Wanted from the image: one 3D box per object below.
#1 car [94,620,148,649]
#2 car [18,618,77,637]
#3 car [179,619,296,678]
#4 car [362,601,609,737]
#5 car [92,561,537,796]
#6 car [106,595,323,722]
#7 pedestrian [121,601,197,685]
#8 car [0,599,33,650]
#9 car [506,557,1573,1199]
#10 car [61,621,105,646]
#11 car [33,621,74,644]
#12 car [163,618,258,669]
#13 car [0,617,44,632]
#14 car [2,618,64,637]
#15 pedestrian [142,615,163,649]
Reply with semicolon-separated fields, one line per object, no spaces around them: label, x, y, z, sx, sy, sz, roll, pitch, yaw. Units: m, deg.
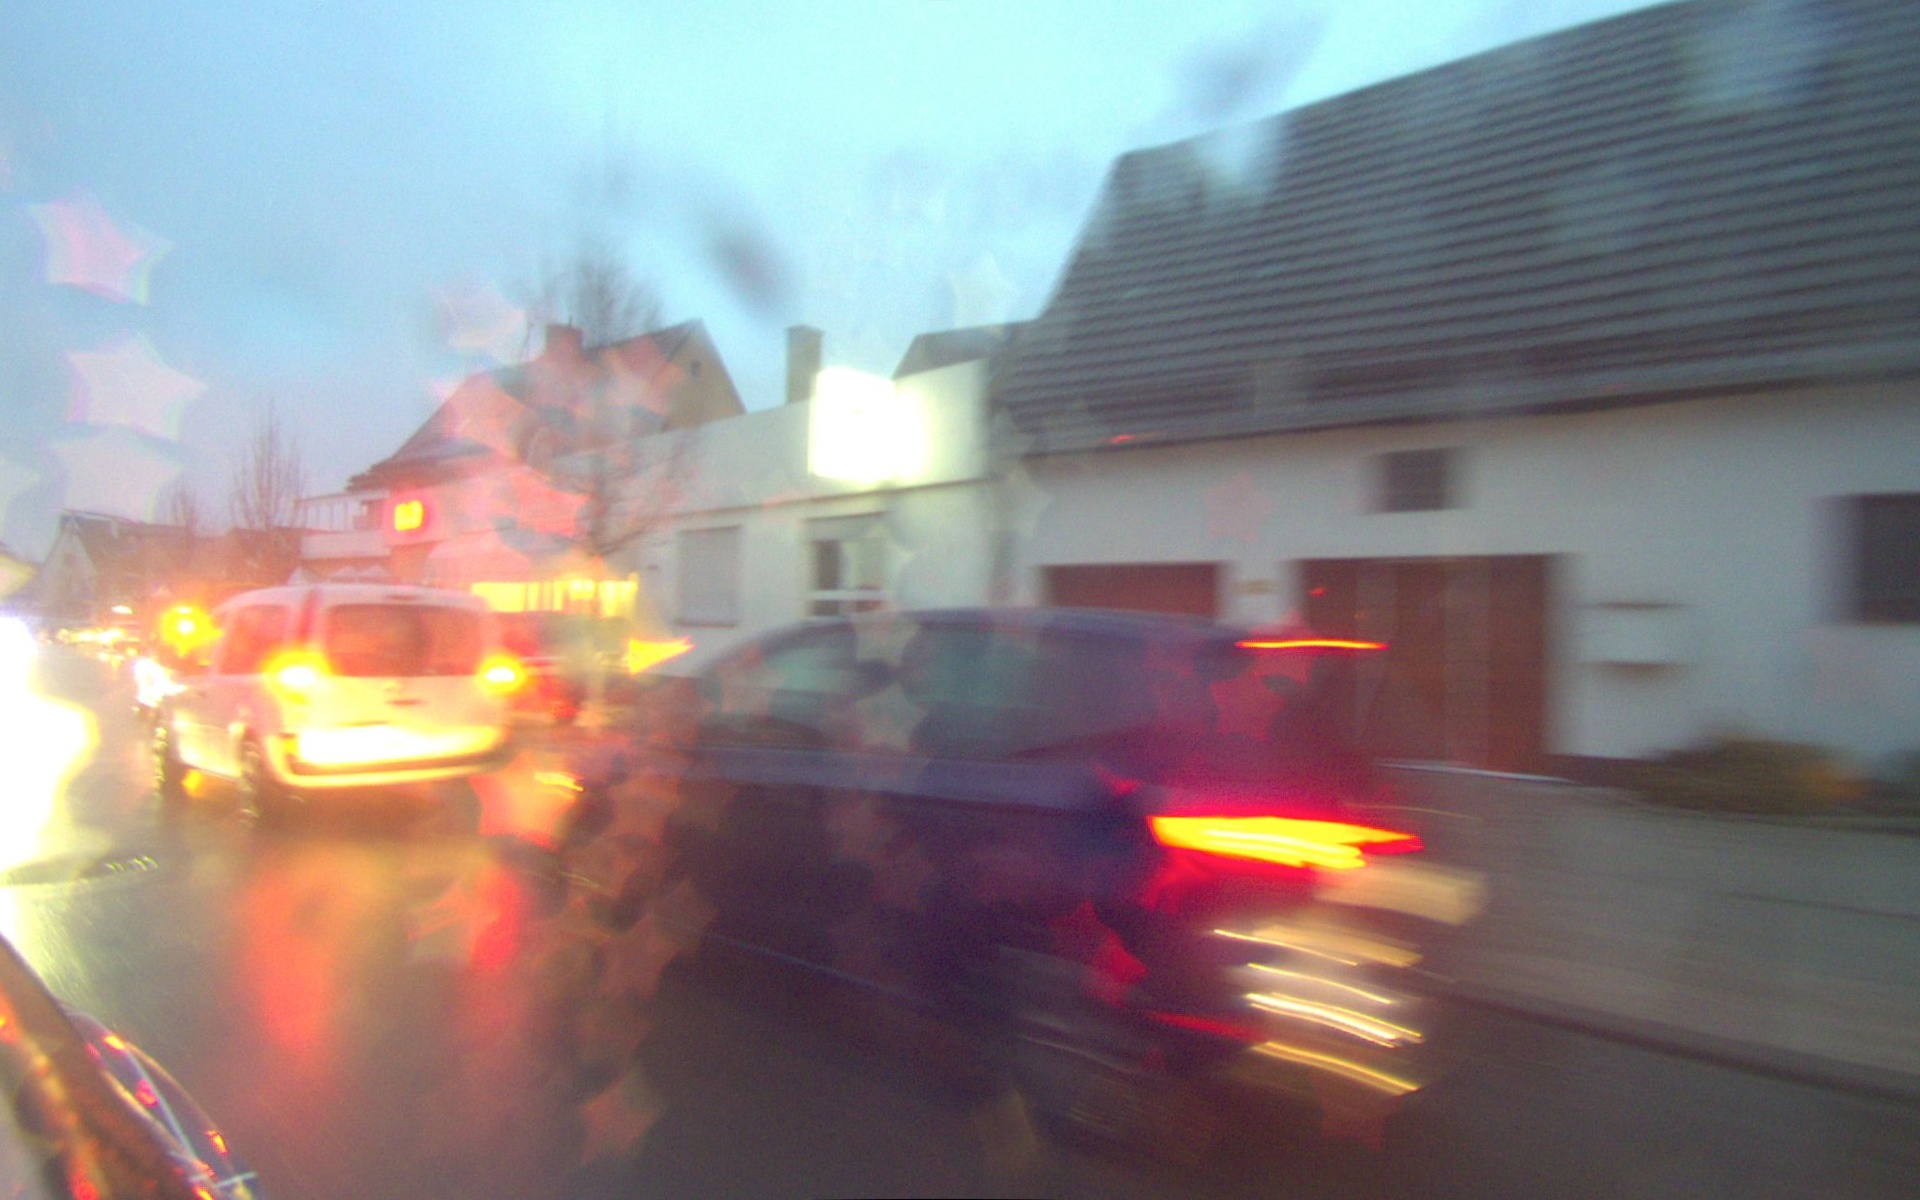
car;-45.945;1.860;55.407;4.183;1.500;1.765;-1;0;43
car;-81.083;2.402;89.977;3.784;1.557;2.003;0;0;-40
car;-20.811;1.308;29.066;1.970;1.534;4.981;1;-1;-44
car;-7.260;0.898;15.215;4.714;1.723;1.859;-1;0;45
car;-5.781;0.689;8.872;4.409;1.559;1.933;-4;-5;38
car;-12.236;0.898;16.456;4.967;1.718;1.972;-3;-1;43
pedestrian;-18.466;0.987;23.342;1.000;1.890;0.941;0;-1;5
car;-39.614;1.007;41.457;3.998;2.029;1.973;-1;0;41
car;-0.022;0.733;4.293;4.255;1.567;1.838;-1;-2;41
car;-54.506;2.054;62.879;4.377;1.442;1.675;-1;-1;43
car;-64.110;2.271;71.569;4.139;1.546;1.815;-1;0;43
car;-25.286;1.418;34.071;1.970;1.570;4.624;0;-1;-44
car;-86.378;2.268;92.470;3.939;1.309;2.002;0;0;-42
car;-83.515;2.474;91.211;3.935;1.559;2.004;0;0;-37
pedestrian;-48.030;1.910;60.209;0.890;2.029;0.791;1;-2;-44
